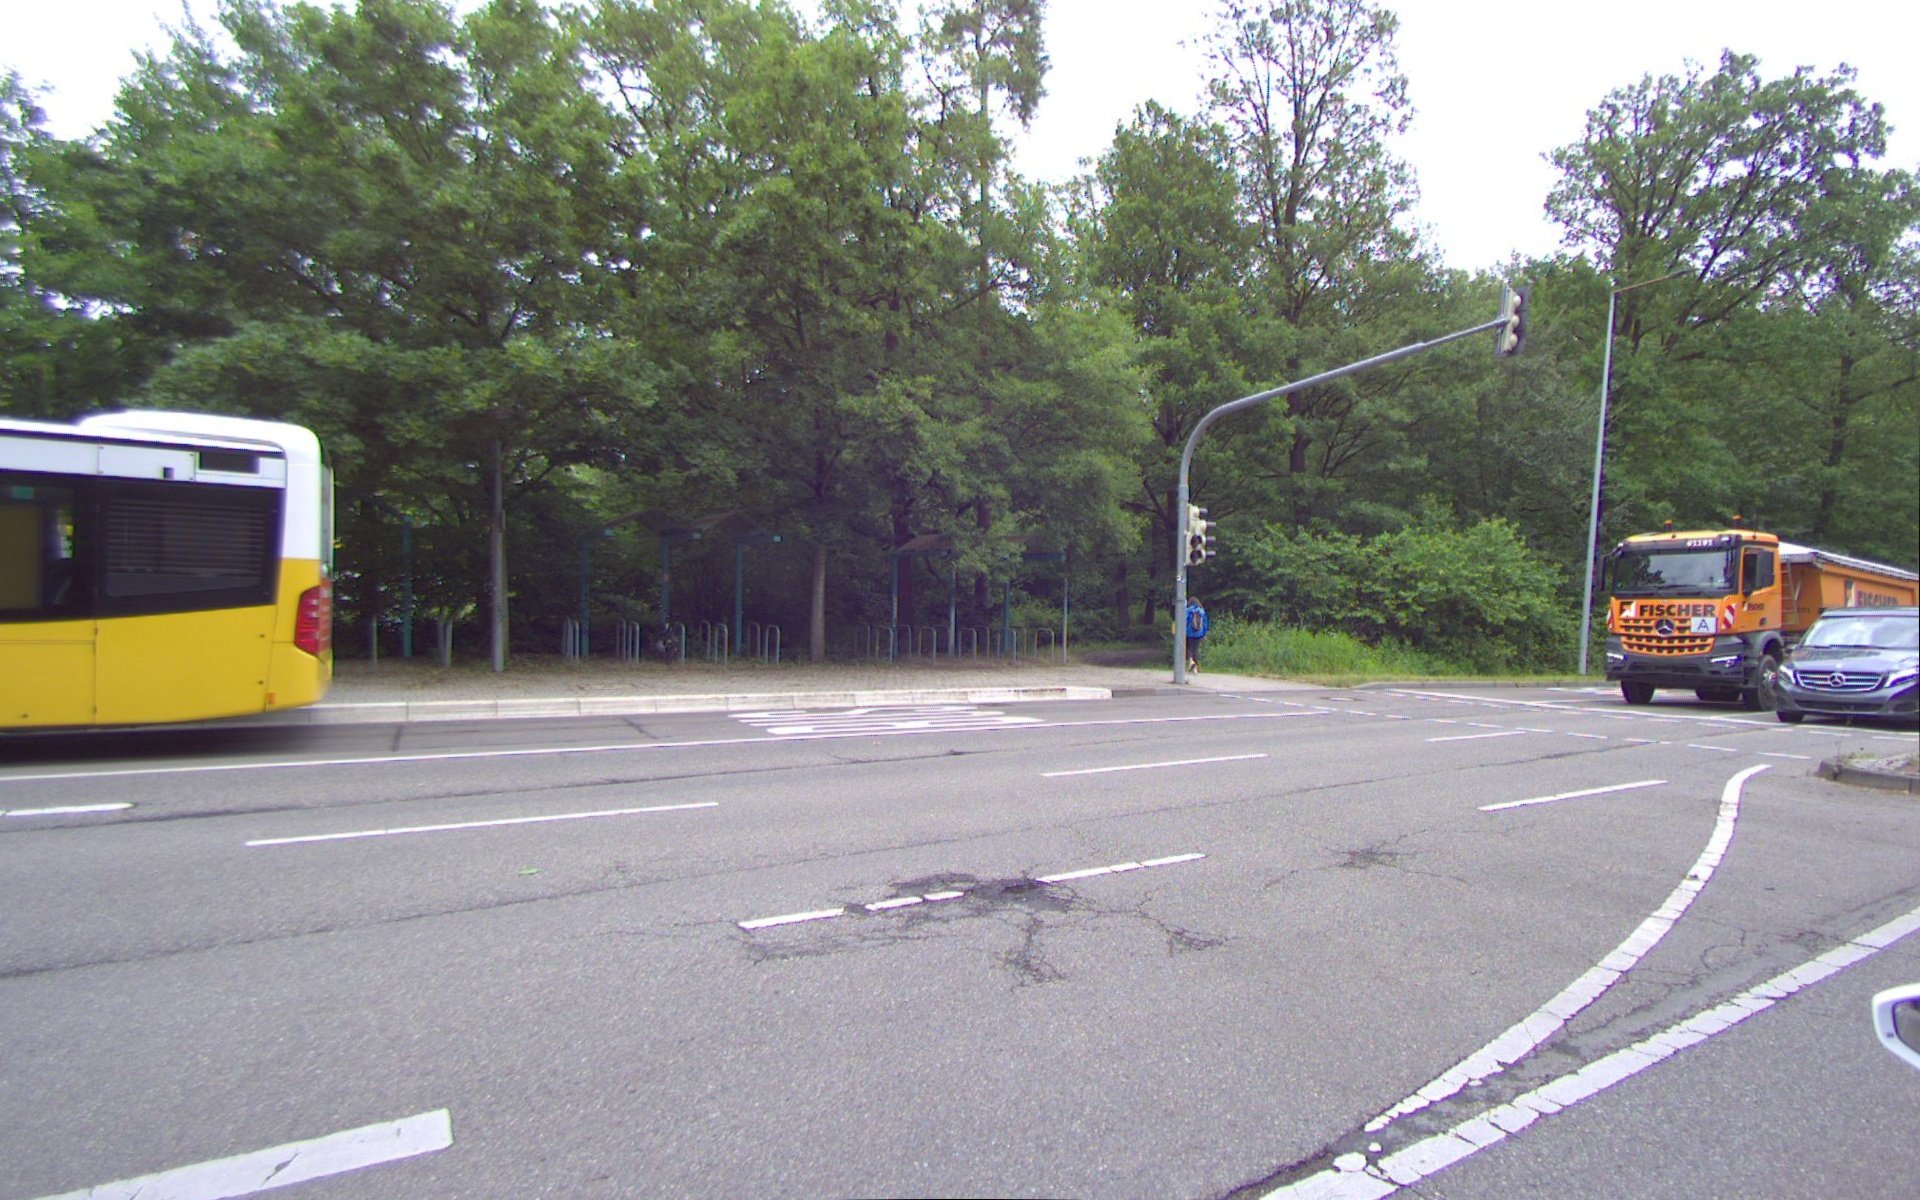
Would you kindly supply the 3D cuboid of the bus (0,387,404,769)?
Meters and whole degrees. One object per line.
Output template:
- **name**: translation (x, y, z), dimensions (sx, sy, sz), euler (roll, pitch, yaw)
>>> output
- **bus**: translation (-9.876, -0.225, 8.893), dimensions (8.592, 3.168, 2.885), euler (1, 0, -30)

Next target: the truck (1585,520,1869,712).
- **truck**: translation (15.991, 0.436, 20.755), dimensions (7.090, 3.362, 2.721), euler (3, -2, -35)

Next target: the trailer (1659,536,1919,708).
- **trailer**: translation (19.460, 0.607, 23.249), dimensions (8.485, 3.362, 2.720), euler (3, -2, -36)

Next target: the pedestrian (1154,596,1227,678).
- **pedestrian**: translation (5.050, 0.786, 22.044), dimensions (1.055, 1.671, 1.043), euler (0, 4, -27)

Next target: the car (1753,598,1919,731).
- **car**: translation (15.295, 1.028, 16.705), dimensions (4.789, 1.918, 1.981), euler (2, -2, -34)
